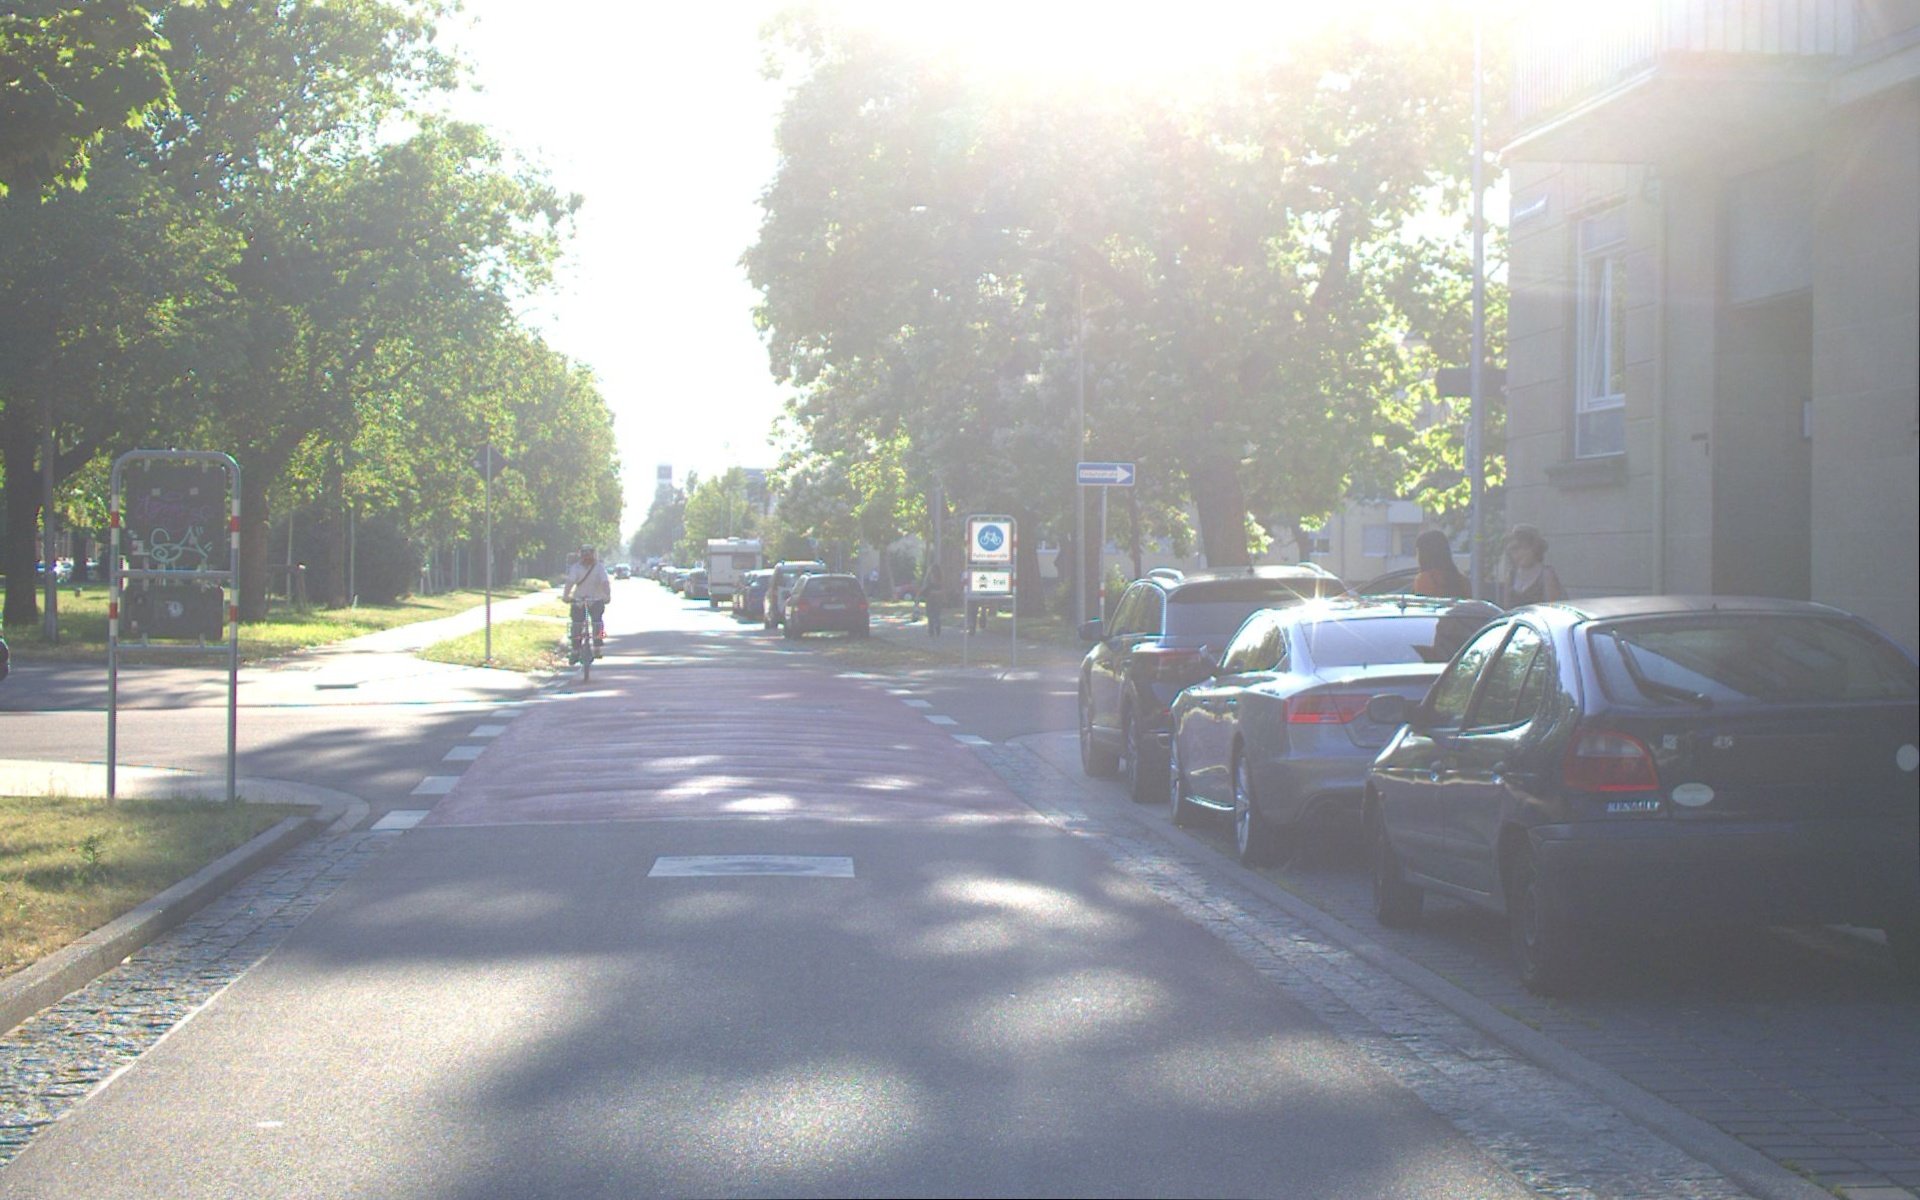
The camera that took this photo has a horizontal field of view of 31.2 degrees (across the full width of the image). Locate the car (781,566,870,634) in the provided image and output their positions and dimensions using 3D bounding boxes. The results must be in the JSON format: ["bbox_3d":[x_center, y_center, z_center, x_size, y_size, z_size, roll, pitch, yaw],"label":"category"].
[{"bbox_3d":[-3.075,0.005,77.826,1.678,1.481,4.810,0,0,-6],"label":"car"}]

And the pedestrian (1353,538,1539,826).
[{"bbox_3d":[3.062,0.507,21.720,0.952,1.763,0.779,2,0,-6],"label":"pedestrian"}]

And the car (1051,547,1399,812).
[{"bbox_3d":[1.771,0.476,24.324,1.703,1.620,4.349,-1,1,-5],"label":"car"}]

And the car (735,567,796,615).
[{"bbox_3d":[-6.439,-0.298,113.253,1.731,1.545,4.423,0,0,-7],"label":"car"}]

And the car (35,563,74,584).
[{"bbox_3d":[-64.656,-1.897,245.425,1.993,1.503,4.116,0,0,-5],"label":"car"}]

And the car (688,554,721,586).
[{"bbox_3d":[-13.788,-1.606,185.493,1.626,1.663,4.250,0,0,-6],"label":"car"}]

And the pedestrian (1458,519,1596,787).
[{"bbox_3d":[3.941,0.361,23.893,0.729,1.824,0.556,1,1,-41],"label":"pedestrian"}]

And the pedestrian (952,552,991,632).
[{"bbox_3d":[0.251,-0.186,75.311,0.725,1.730,0.732,2,0,-5],"label":"pedestrian"}]

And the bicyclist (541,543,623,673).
[{"bbox_3d":[-5.061,0.103,46.073,0.937,1.697,0.905,1,0,1],"label":"bicyclist"}]

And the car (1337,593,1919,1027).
[{"bbox_3d":[2.676,0.703,13.609,1.703,1.415,4.036,-1,0,-3],"label":"car"}]

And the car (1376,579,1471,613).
[{"bbox_3d":[21.039,-0.186,156.176,3.991,1.547,1.608,0,0,22],"label":"car"}]

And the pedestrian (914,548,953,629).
[{"bbox_3d":[-0.584,-0.256,75.211,0.753,1.730,0.732,2,0,-5],"label":"pedestrian"}]

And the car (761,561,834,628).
[{"bbox_3d":[-4.357,-0.148,91.676,1.678,1.734,4.515,0,0,-6],"label":"car"}]

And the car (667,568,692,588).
[{"bbox_3d":[-19.472,-1.527,238.863,1.626,1.405,4.250,0,0,-6],"label":"car"}]

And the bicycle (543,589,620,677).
[{"bbox_3d":[-5.059,0.431,46.028,0.738,1.131,2.104,1,0,1],"label":"bicycle"}]

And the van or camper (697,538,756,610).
[{"bbox_3d":[-9.830,-1.071,144.269,2.233,2.894,5.674,0,-1,-6],"label":"van or camper"}]

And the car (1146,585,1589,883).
[{"bbox_3d":[2.118,0.653,19.042,1.703,1.415,4.349,-1,0,-3],"label":"car"}]

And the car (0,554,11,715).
[{"bbox_3d":[-11.461,0.307,33.321,3.986,1.569,1.891,1,-2,-30],"label":"car"}]
